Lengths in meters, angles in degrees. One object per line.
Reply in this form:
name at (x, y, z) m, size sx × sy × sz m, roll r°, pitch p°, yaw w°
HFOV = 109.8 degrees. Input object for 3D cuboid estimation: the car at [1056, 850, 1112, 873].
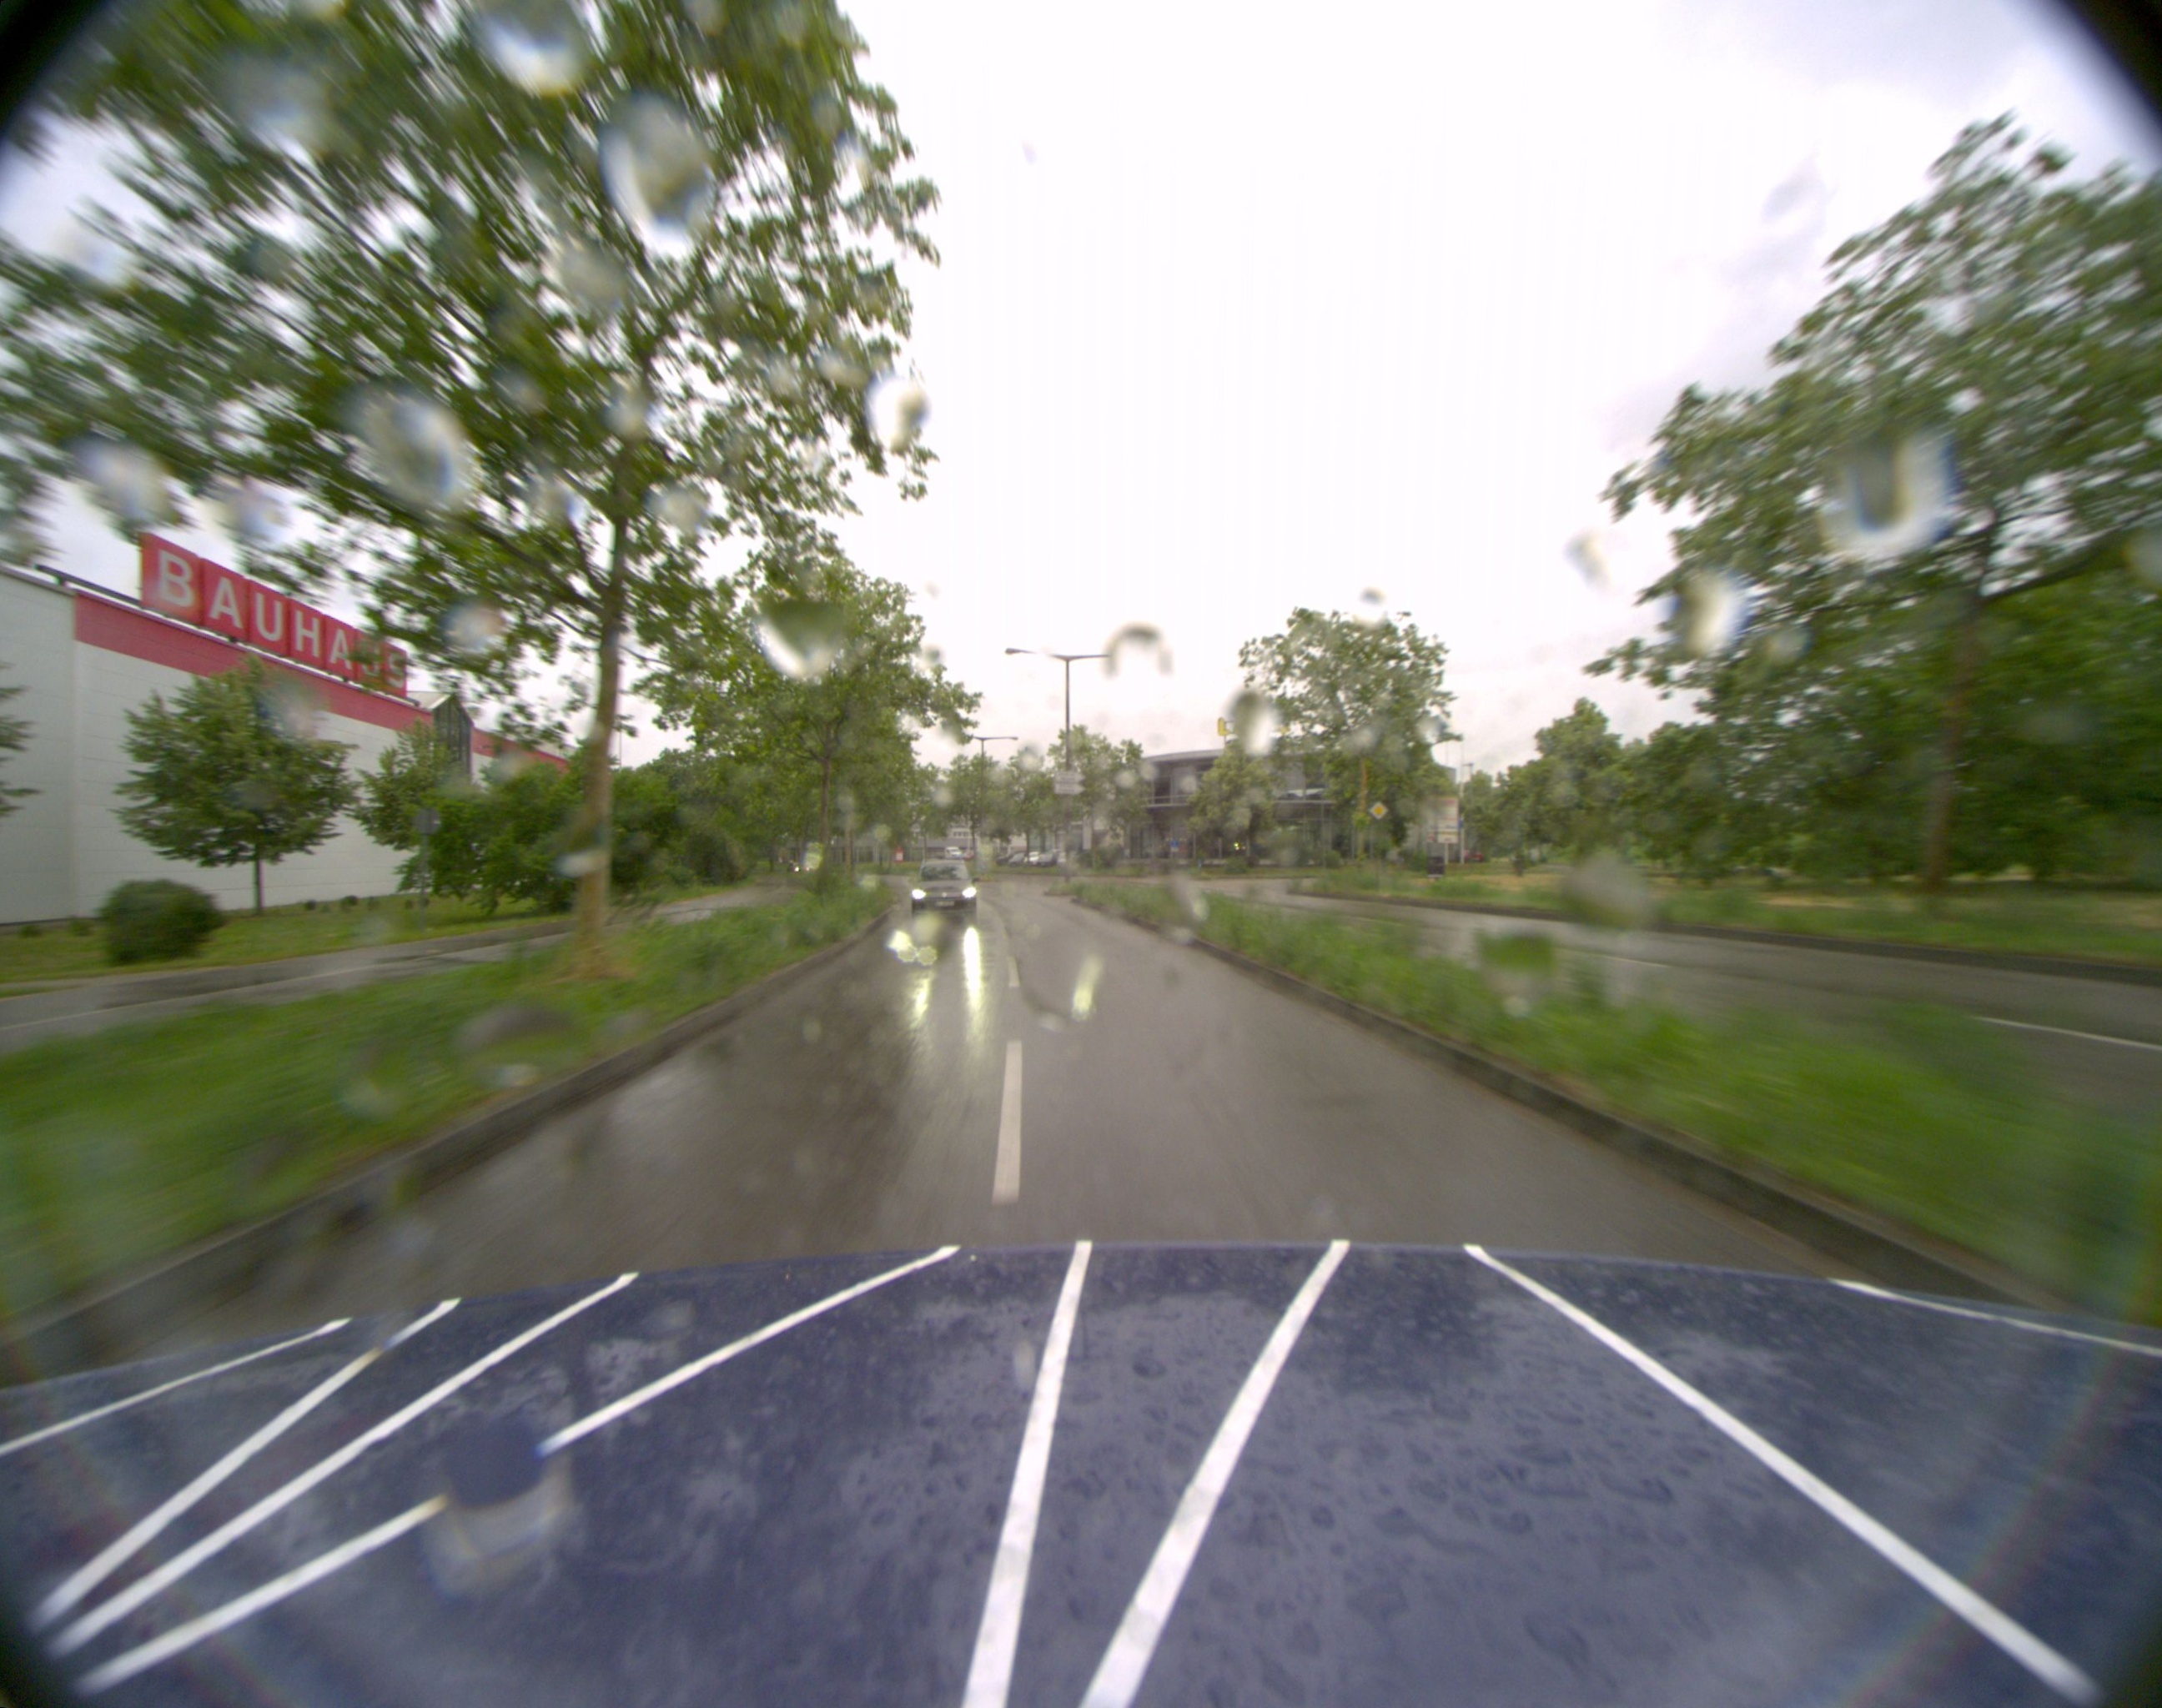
car at (0.245, 0.584, 60.367) m, size 4.006 × 1.650 × 1.860 m, roll -3°, pitch 1°, yaw -33°

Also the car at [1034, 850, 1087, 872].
car at (-1.727, 0.584, 64.645) m, size 4.006 × 1.650 × 1.860 m, roll -3°, pitch 1°, yaw -33°

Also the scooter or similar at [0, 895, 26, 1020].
scooter or similar at (-11.161, 1.068, 7.224) m, size 0.451 × 1.267 × 1.598 m, roll -1°, pitch 0°, yaw -19°

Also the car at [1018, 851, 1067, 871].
car at (-3.447, 0.604, 68.771) m, size 4.006 × 1.650 × 1.860 m, roll -3°, pitch 1°, yaw -33°

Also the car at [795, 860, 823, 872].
car at (-36.580, 1.611, 102.122) m, size 2.004 × 1.641 × 3.989 m, roll -2°, pitch 0°, yaw -43°

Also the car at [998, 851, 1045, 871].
car at (-5.688, 0.649, 72.473) m, size 4.006 × 1.650 × 1.860 m, roll -3°, pitch 1°, yaw -33°

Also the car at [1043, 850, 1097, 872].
car at (-0.867, 0.575, 62.518) m, size 4.006 × 1.650 × 1.860 m, roll -3°, pitch 1°, yaw -33°

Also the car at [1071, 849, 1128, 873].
car at (1.446, 0.558, 58.597) m, size 4.006 × 1.650 × 1.860 m, roll -3°, pitch 1°, yaw -33°

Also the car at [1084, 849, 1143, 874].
car at (2.435, 0.538, 56.900) m, size 4.006 × 1.650 × 1.860 m, roll -3°, pitch 1°, yaw -33°

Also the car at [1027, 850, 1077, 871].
car at (-2.530, 0.592, 66.686) m, size 4.006 × 1.650 × 1.860 m, roll -3°, pitch 1°, yaw -33°

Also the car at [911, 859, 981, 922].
car at (-4.005, 0.997, 22.735) m, size 1.790 × 1.605 × 4.713 m, roll -3°, pitch 0°, yaw -9°

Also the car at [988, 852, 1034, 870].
car at (-6.774, 0.673, 74.087) m, size 4.006 × 1.650 × 1.860 m, roll -3°, pitch 1°, yaw -33°

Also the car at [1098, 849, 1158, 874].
car at (3.440, 0.519, 55.198) m, size 4.006 × 1.650 × 1.860 m, roll -3°, pitch 1°, yaw -33°

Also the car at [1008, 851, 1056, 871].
car at (-4.518, 0.623, 70.787) m, size 4.006 × 1.650 × 1.860 m, roll -3°, pitch 1°, yaw -33°
